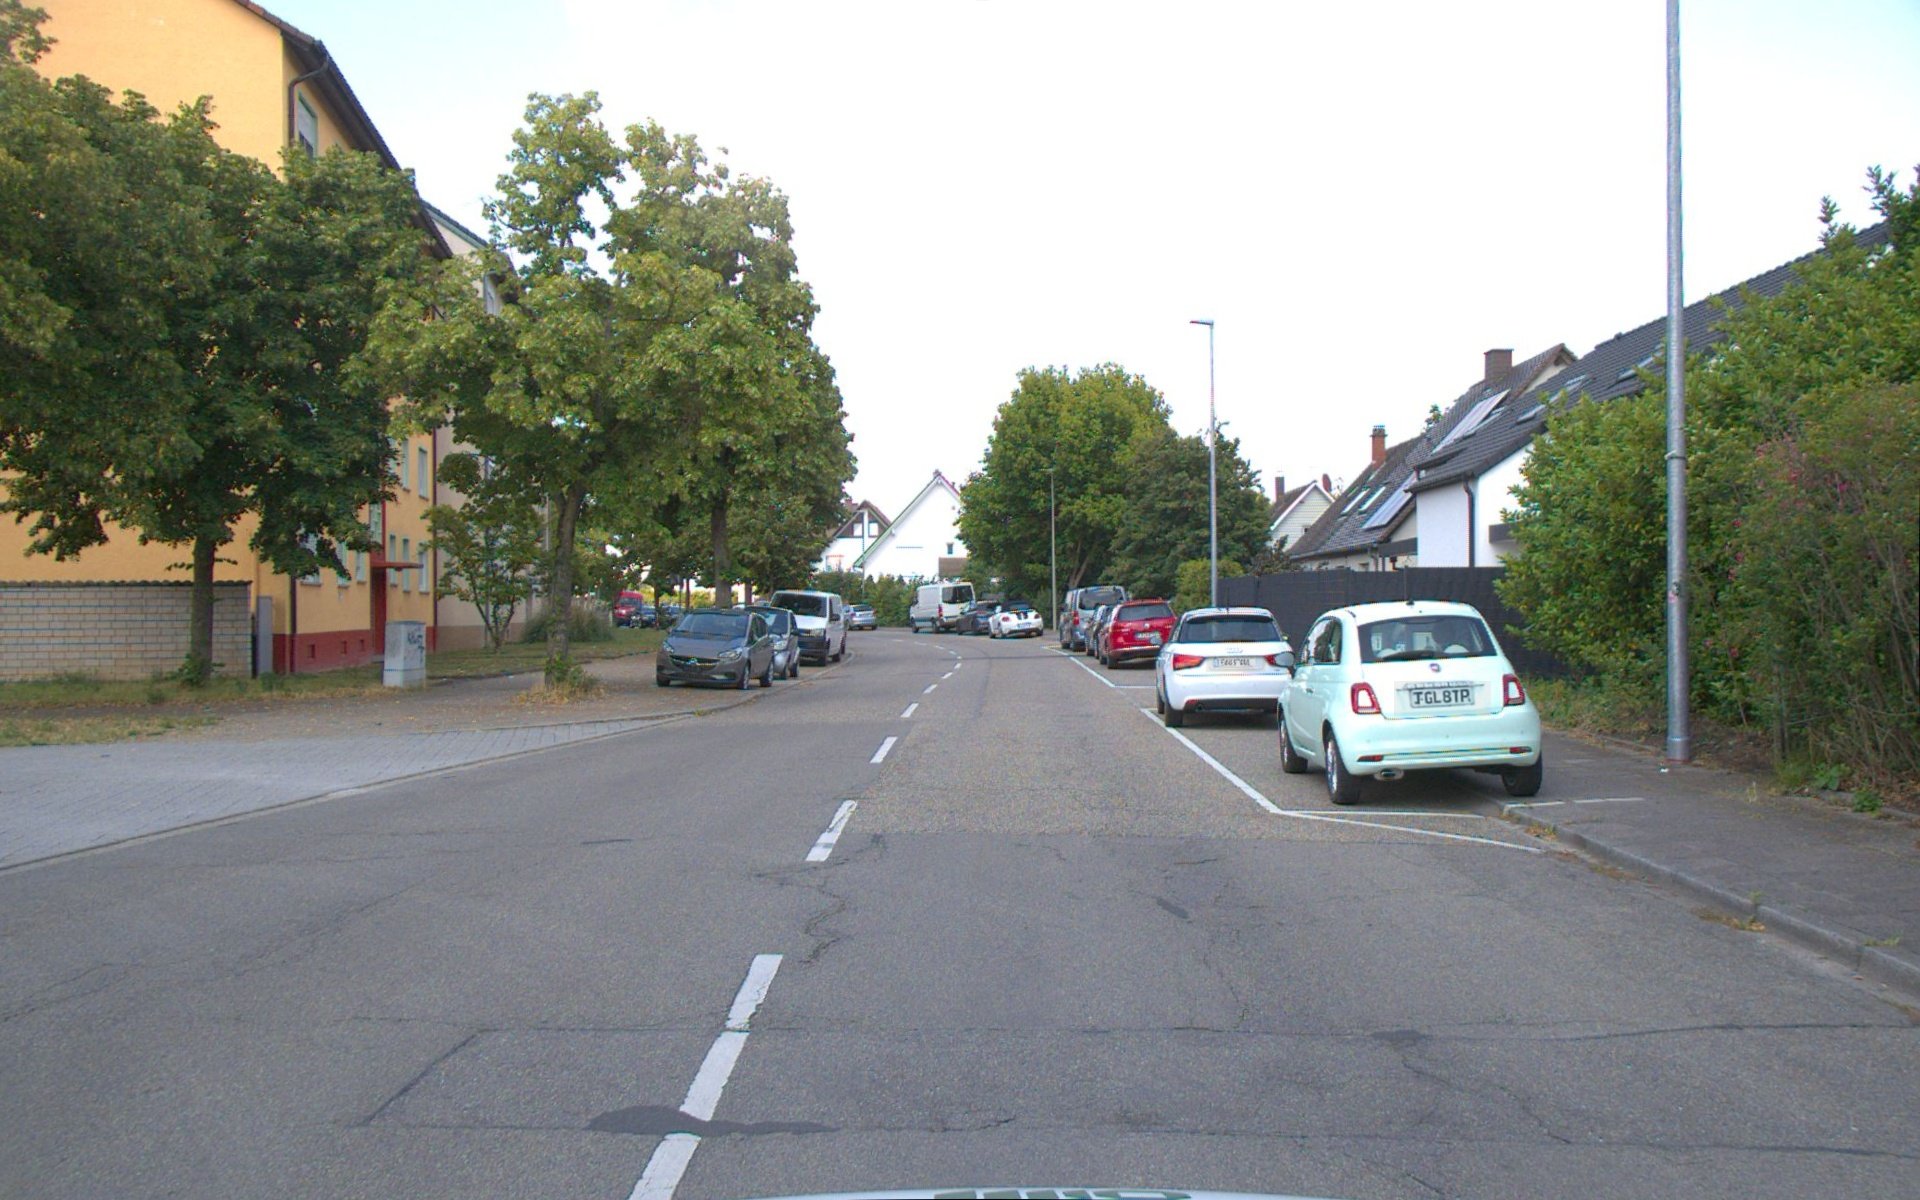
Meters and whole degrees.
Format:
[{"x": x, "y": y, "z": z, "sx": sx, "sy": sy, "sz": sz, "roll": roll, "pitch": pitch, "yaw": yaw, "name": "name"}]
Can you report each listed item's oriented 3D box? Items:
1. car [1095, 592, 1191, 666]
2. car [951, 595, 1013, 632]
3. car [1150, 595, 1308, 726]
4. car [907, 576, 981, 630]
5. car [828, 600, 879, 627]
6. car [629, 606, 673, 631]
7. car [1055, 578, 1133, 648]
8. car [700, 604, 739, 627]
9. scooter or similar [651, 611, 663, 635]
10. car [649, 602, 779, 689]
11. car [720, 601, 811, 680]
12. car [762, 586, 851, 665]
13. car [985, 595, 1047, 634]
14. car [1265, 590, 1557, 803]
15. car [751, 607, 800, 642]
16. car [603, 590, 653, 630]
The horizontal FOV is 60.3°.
[{"x": 4.230, "y": 0.639, "z": 38.950, "sx": 1.811, "sy": 1.607, "sz": 4.733, "roll": -1, "pitch": 0, "yaw": 1, "name": "car"}, {"x": 0.962, "y": 0.616, "z": 75.303, "sx": 1.689, "sy": 1.613, "sz": 4.106, "roll": -1, "pitch": 0, "yaw": -16, "name": "car"}, {"x": 3.389, "y": 0.705, "z": 21.375, "sx": 1.685, "sy": 1.512, "sz": 3.751, "roll": -1, "pitch": 0, "yaw": 5, "name": "car"}, {"x": -0.837, "y": 0.150, "z": 81.266, "sx": 2.083, "sy": 2.483, "sz": 5.868, "roll": -1, "pitch": 0, "yaw": -16, "name": "car"}, {"x": -6.192, "y": 0.758, "z": 95.497, "sx": 1.713, "sy": 1.483, "sz": 4.336, "roll": -1, "pitch": 0, "yaw": -21, "name": "car"}, {"x": -19.375, "y": 1.156, "z": 103.669, "sx": 1.763, "sy": 1.483, "sz": 4.404, "roll": 3, "pitch": -2, "yaw": -23, "name": "car"}, {"x": 4.155, "y": 0.387, "z": 51.887, "sx": 1.805, "sy": 1.978, "sz": 4.874, "roll": -4, "pitch": 0, "yaw": -2, "name": "car"}, {"x": -17.620, "y": 1.131, "z": 121.062, "sx": 1.773, "sy": 1.550, "sz": 3.940, "roll": -1, "pitch": 0, "yaw": -26, "name": "car"}, {"x": -15.496, "y": 1.185, "z": 84.675, "sx": 0.413, "sy": 1.186, "sz": 1.134, "roll": 0, "pitch": 0, "yaw": -20, "name": "scooter or similar"}, {"x": -4.623, "y": 0.858, "z": 31.595, "sx": 1.648, "sy": 1.512, "sz": 3.985, "roll": 1, "pitch": -1, "yaw": 3, "name": "car"}, {"x": -4.397, "y": 0.890, "z": 37.851, "sx": 1.486, "sy": 1.576, "sz": 3.756, "roll": 4, "pitch": 0, "yaw": 1, "name": "car"}, {"x": -4.209, "y": 0.658, "z": 46.085, "sx": 1.840, "sy": 2.044, "sz": 5.323, "roll": 1, "pitch": 0, "yaw": 1, "name": "car"}, {"x": 2.265, "y": 0.583, "z": 68.528, "sx": 1.708, "sy": 1.539, "sz": 4.448, "roll": -1, "pitch": 0, "yaw": -9, "name": "car"}, {"x": 3.696, "y": 0.713, "z": 14.175, "sx": 1.548, "sy": 1.546, "sz": 3.756, "roll": -1, "pitch": 0, "yaw": 2, "name": "car"}, {"x": -8.168, "y": 1.065, "z": 72.979, "sx": 1.804, "sy": 1.464, "sz": 4.080, "roll": 1, "pitch": -1, "yaw": -11, "name": "car"}, {"x": -22.034, "y": 0.657, "z": 109.657, "sx": 2.036, "sy": 2.544, "sz": 5.799, "roll": 3, "pitch": -1, "yaw": -23, "name": "car"}]
